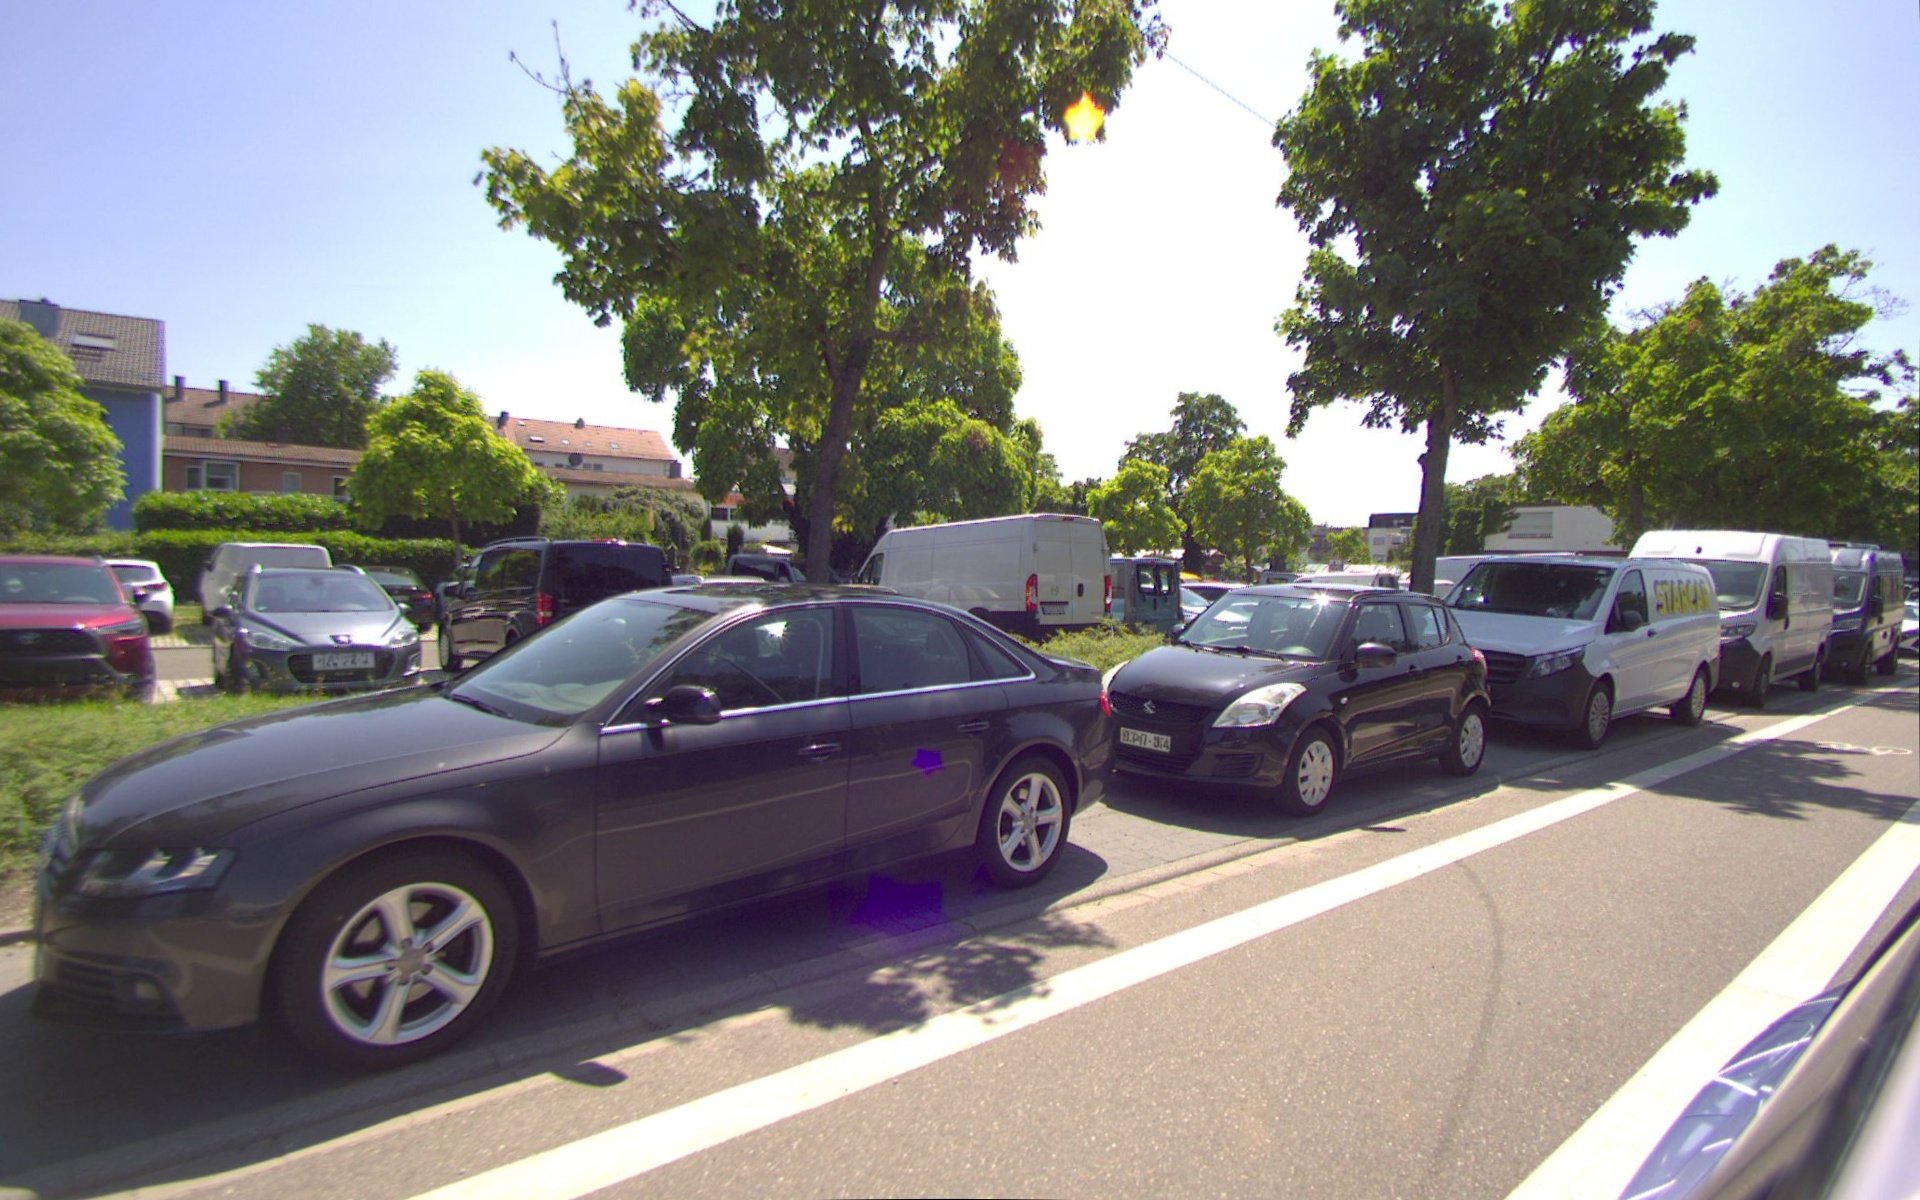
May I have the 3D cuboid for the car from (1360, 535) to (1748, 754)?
[{"bbox_3d":[6.860,0.359,11.429,5.180,1.901,2.003,0,4,-39],"label":"car"}]

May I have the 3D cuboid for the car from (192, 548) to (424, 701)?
[{"bbox_3d":[-7.893,0.246,12.081,1.739,1.509,4.026,0,0,-42],"label":"car"}]

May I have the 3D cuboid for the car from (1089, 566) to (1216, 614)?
[{"bbox_3d":[8.137,-0.465,43.240,2.057,1.774,5.167,0,3,-39],"label":"car"}]

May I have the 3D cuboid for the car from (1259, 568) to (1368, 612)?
[{"bbox_3d":[17.991,-0.551,51.664,1.875,1.923,4.928,0,3,-41],"label":"car"}]

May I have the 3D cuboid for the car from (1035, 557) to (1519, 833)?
[{"bbox_3d":[2.567,0.543,7.824,3.770,1.559,1.717,0,4,-39],"label":"car"}]

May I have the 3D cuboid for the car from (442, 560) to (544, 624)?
[{"bbox_3d":[-12.110,-0.251,26.129,1.651,1.446,3.344,0,3,-38],"label":"car"}]

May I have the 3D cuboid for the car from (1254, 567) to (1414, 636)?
[{"bbox_3d":[10.442,0.044,28.397,1.922,1.807,3.781,0,0,-44],"label":"car"}]

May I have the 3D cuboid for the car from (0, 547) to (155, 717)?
[{"bbox_3d":[-9.698,0.287,10.629,1.739,1.509,4.026,0,0,-42],"label":"car"}]

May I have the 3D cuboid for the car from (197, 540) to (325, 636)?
[{"bbox_3d":[-15.287,-0.319,22.064,1.725,1.829,4.005,0,3,-43],"label":"car"}]

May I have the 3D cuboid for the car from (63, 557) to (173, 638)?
[{"bbox_3d":[-17.584,-0.103,21.247,1.651,1.446,3.344,0,3,-38],"label":"car"}]

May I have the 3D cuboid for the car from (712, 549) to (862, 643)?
[{"bbox_3d":[-5.445,-0.217,31.154,2.057,2.489,5.505,0,3,-39],"label":"car"}]

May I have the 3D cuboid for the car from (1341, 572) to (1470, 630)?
[{"bbox_3d":[14.097,0.030,32.140,1.697,1.739,3.378,0,0,-40],"label":"car"}]

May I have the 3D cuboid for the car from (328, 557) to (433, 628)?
[{"bbox_3d":[-13.535,-0.218,23.560,1.651,1.446,3.344,0,3,-38],"label":"car"}]

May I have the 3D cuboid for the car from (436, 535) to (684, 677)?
[{"bbox_3d":[-5.782,0.075,14.256,1.919,1.665,4.702,0,0,-39],"label":"car"}]

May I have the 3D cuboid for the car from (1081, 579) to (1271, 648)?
[{"bbox_3d":[4.777,0.284,22.729,1.700,1.424,3.888,0,0,-45],"label":"car"}]

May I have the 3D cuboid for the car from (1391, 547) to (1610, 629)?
[{"bbox_3d":[18.553,-0.375,35.119,2.221,2.561,6.357,0,0,-37],"label":"car"}]

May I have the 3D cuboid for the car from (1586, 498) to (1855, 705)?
[{"bbox_3d":[12.008,-0.055,15.770,6.035,2.668,2.002,0,4,-41],"label":"car"}]

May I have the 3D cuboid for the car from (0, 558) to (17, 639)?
[{"bbox_3d":[-19.175,-0.037,19.147,1.651,1.446,3.475,0,3,-38],"label":"car"}]

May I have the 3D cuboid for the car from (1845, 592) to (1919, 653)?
[{"bbox_3d":[25.562,0.571,27.433,4.135,1.445,1.726,0,4,-41],"label":"car"}]

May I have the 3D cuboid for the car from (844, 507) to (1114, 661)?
[{"bbox_3d":[0.161,-0.259,19.151,2.057,2.491,5.501,0,0,-39],"label":"car"}]

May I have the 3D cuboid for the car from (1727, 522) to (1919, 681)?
[{"bbox_3d":[17.197,-0.029,19.960,5.972,2.668,2.002,0,4,-41],"label":"car"}]

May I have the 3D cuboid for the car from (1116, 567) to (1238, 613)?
[{"bbox_3d":[9.739,-0.505,45.799,2.057,1.774,5.167,0,3,-39],"label":"car"}]

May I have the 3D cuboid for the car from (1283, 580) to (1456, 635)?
[{"bbox_3d":[12.181,0.209,30.286,1.921,1.524,4.410,0,0,-43],"label":"car"}]

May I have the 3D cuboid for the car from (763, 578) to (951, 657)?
[{"bbox_3d":[-1.832,0.269,17.346,1.652,1.204,3.341,0,0,-39],"label":"car"}]

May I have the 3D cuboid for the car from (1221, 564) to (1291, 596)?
[{"bbox_3d":[23.499,-1.611,80.543,1.965,2.443,5.082,0,2,-40],"label":"car"}]

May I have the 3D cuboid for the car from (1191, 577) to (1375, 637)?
[{"bbox_3d":[8.264,0.180,26.201,1.698,1.424,4.281,0,0,-42],"label":"car"}]

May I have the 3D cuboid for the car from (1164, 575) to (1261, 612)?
[{"bbox_3d":[11.784,-0.331,47.470,1.603,1.454,4.322,0,3,-39],"label":"car"}]

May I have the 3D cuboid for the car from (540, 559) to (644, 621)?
[{"bbox_3d":[-9.909,-0.298,27.120,1.651,1.446,3.344,0,3,-38],"label":"car"}]

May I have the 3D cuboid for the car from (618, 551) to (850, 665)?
[{"bbox_3d":[-3.562,0.105,15.490,1.739,1.509,4.026,0,0,-42],"label":"car"}]

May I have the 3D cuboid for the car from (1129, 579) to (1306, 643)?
[{"bbox_3d":[6.167,0.252,24.540,1.698,1.424,3.890,0,0,-42],"label":"car"}]

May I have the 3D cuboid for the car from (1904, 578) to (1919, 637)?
[{"bbox_3d":[34.195,0.301,34.785,5.033,1.939,1.884,0,4,-40],"label":"car"}]

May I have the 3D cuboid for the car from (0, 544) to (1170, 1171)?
[{"bbox_3d":[-1.155,0.576,4.585,4.629,1.435,1.715,0,4,-43],"label":"car"}]

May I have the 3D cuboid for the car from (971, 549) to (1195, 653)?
[{"bbox_3d":[2.464,0.017,21.068,1.922,1.933,4.408,0,0,-44],"label":"car"}]
